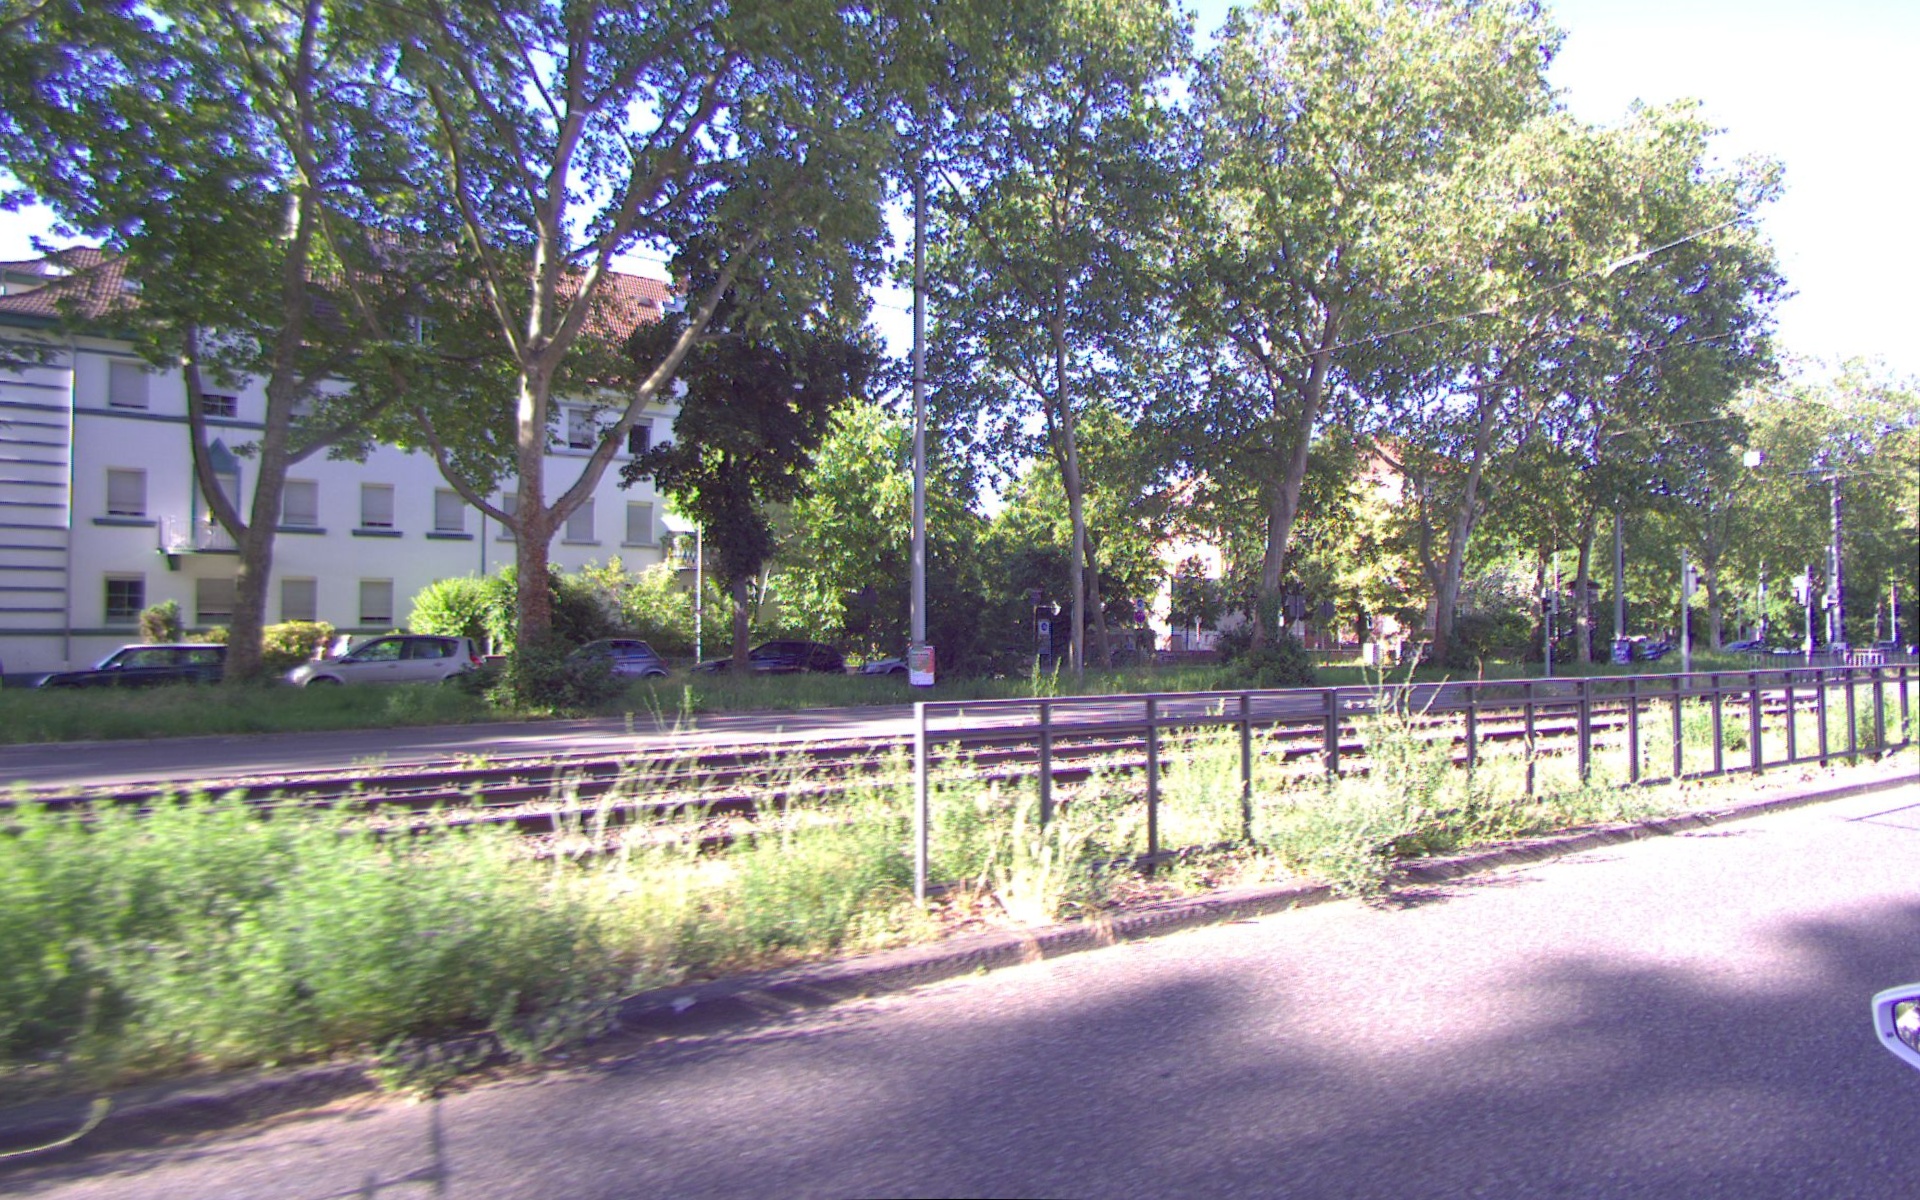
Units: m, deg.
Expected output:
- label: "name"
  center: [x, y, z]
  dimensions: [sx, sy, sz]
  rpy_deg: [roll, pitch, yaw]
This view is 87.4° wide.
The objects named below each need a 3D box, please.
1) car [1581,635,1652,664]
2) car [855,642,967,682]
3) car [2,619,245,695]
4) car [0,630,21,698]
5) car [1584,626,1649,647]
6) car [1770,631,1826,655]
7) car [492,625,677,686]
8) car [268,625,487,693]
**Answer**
- label: "car"
  center: [35.465, 2.656, 54.229]
  dimensions: [4.099, 1.529, 1.660]
  rpy_deg: [1, -2, -32]
- label: "car"
  center: [-1.497, 1.890, 30.947]
  dimensions: [3.184, 1.131, 1.463]
  rpy_deg: [1, -2, -34]
- label: "car"
  center: [-17.516, 1.163, 21.289]
  dimensions: [3.653, 1.484, 1.767]
  rpy_deg: [1, -2, -30]
- label: "car"
  center: [-21.058, 1.243, 19.063]
  dimensions: [4.408, 1.341, 1.633]
  rpy_deg: [1, -4, -30]
- label: "car"
  center: [49.202, 2.744, 75.361]
  dimensions: [1.375, 1.514, 3.974]
  rpy_deg: [1, -2, -26]
- label: "car"
  center: [55.553, 2.820, 66.581]
  dimensions: [4.099, 1.529, 1.660]
  rpy_deg: [1, -2, -32]
- label: "car"
  center: [-9.656, 1.401, 25.908]
  dimensions: [4.267, 1.460, 1.776]
  rpy_deg: [1, -2, -30]
- label: "car"
  center: [-13.507, 1.337, 23.523]
  dimensions: [4.267, 1.459, 1.727]
  rpy_deg: [1, -2, -30]
